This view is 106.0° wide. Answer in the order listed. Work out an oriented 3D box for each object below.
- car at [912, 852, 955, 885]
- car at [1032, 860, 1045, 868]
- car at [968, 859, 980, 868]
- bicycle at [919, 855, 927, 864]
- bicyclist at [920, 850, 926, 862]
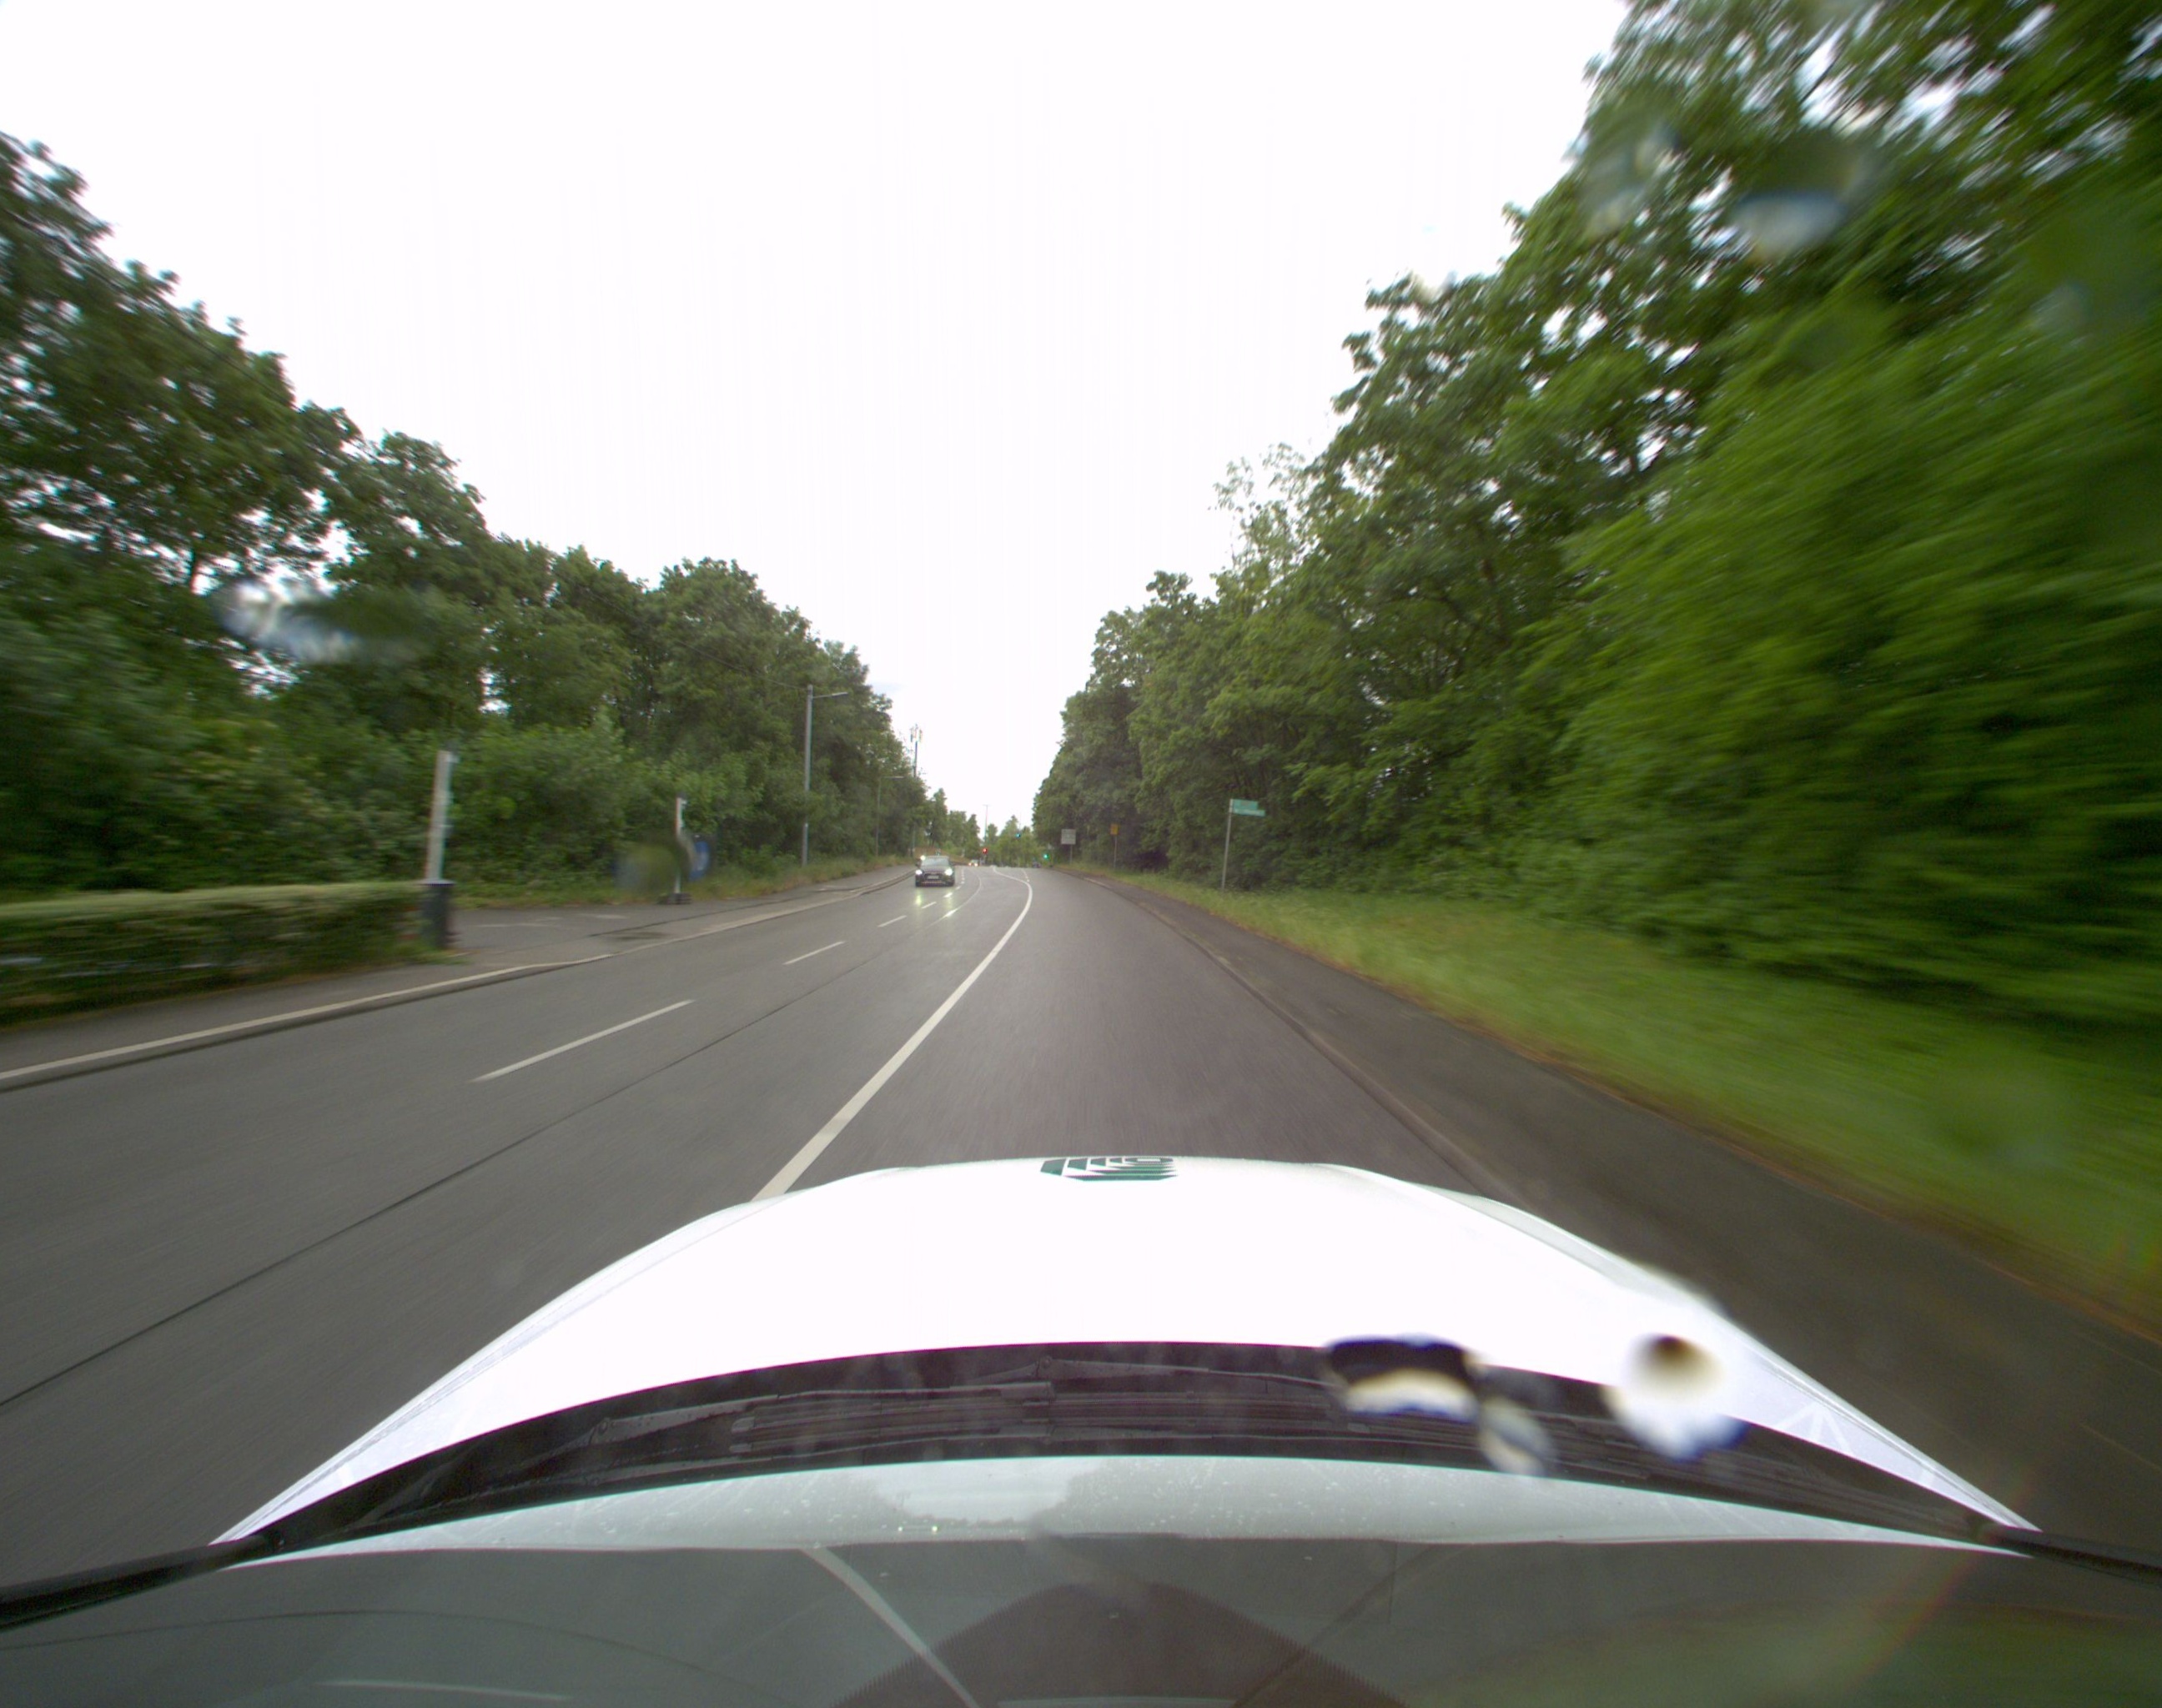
[{"bbox_3d":[-7.139,0.675,39.537,1.935,1.498,4.303,0,0,-10],"label":"car"},{"bbox_3d":[-8.353,2.000,160.009,1.925,1.498,4.325,0,0,6],"label":"car"},{"bbox_3d":[-22.824,1.991,173.754,1.987,1.849,3.999,-1,-2,0],"label":"car"},{"bbox_3d":[-21.426,0.731,110.425,0.703,1.242,2.162,0,0,-3],"label":"bicycle"},{"bbox_3d":[-21.419,0.241,110.433,0.703,1.644,0.950,0,0,-3],"label":"bicyclist"}]
